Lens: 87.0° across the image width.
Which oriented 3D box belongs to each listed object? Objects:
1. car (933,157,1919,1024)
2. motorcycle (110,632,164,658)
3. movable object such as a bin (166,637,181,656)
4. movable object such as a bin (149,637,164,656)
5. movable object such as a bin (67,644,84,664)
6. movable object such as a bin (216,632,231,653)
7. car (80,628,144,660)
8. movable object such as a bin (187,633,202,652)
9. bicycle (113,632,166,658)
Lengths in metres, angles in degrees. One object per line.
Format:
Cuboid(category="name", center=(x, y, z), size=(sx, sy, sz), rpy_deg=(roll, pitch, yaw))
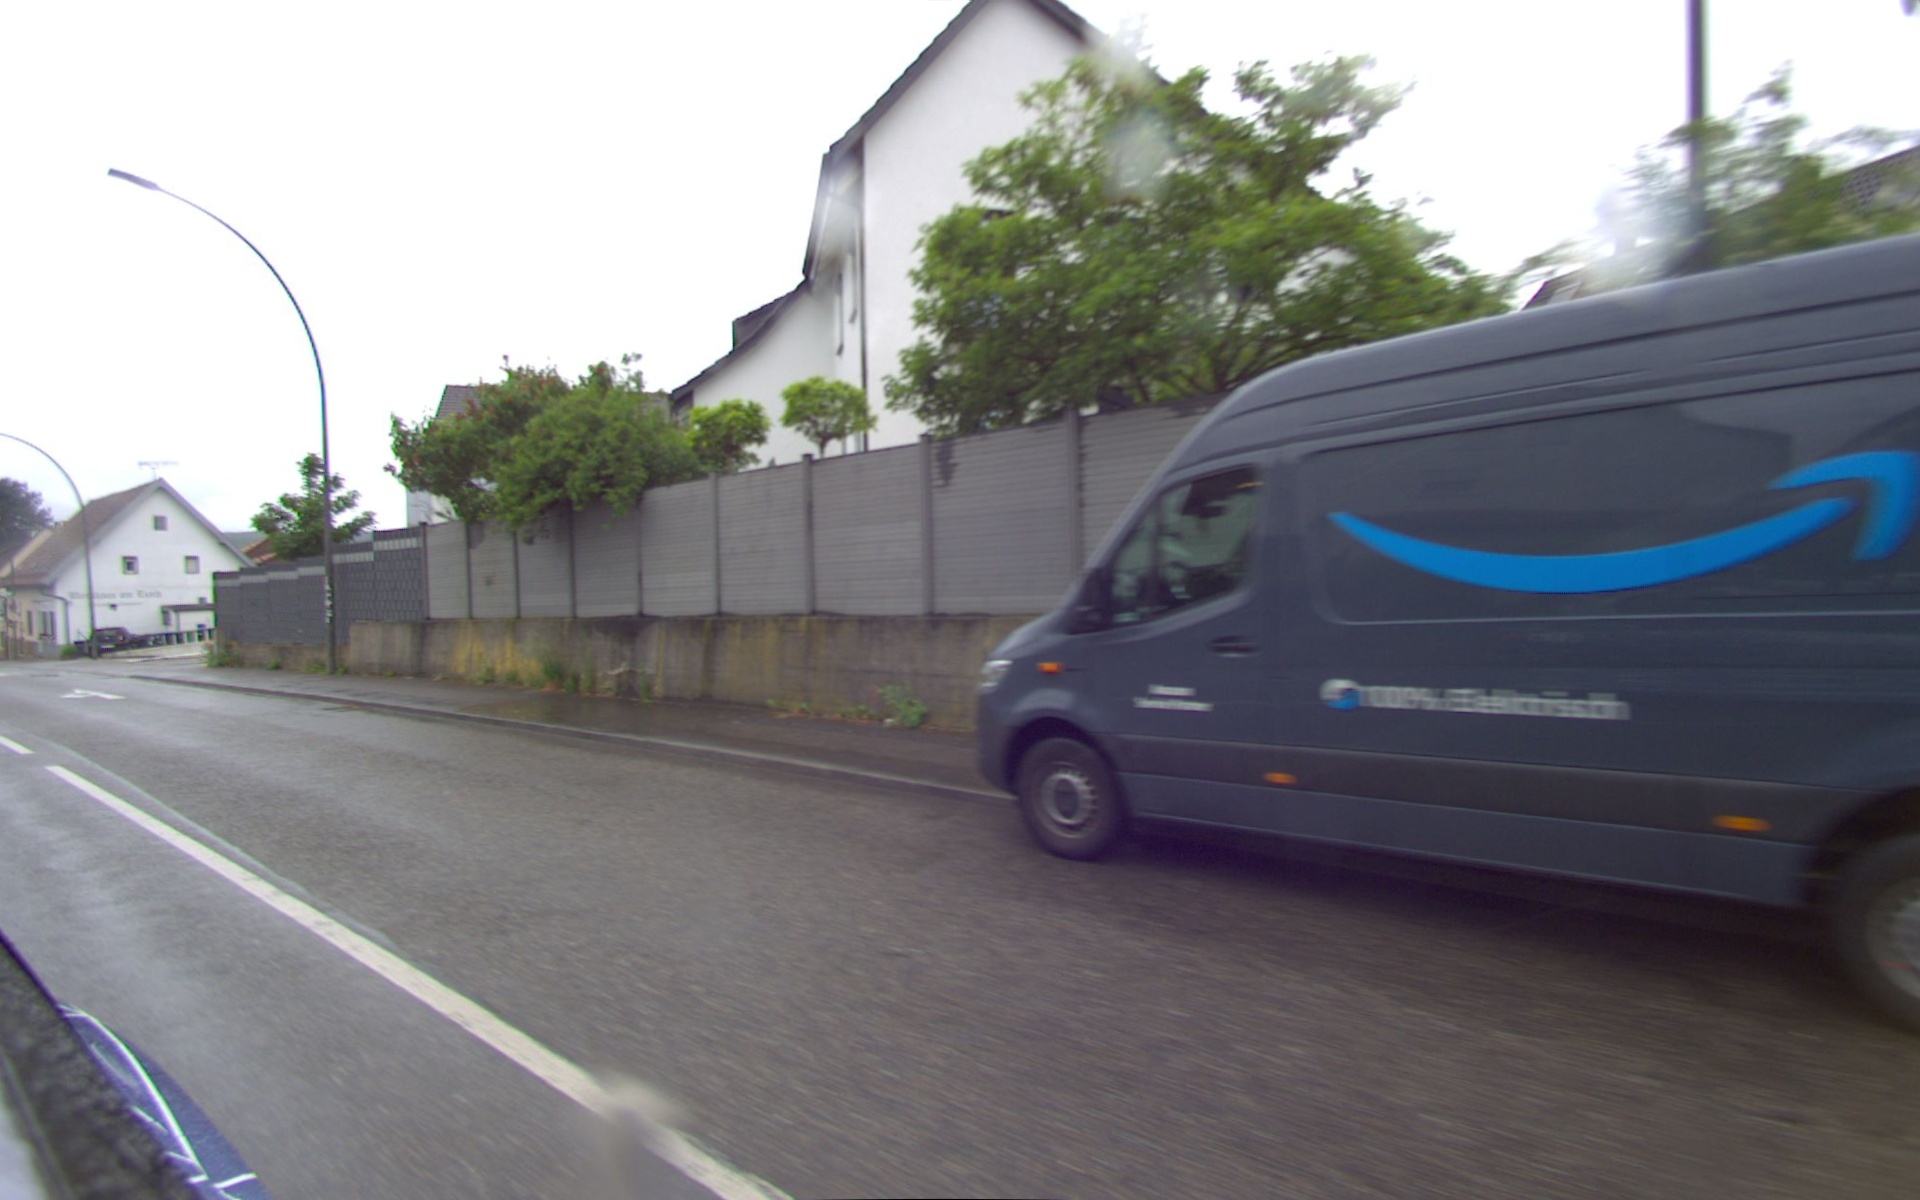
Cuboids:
Cuboid(category="car", center=(2.747, -0.040, 4.737), size=(5.919, 2.668, 2.072), rpy_deg=(-1, 2, 43))
Cuboid(category="motorcycle", center=(-43.809, 2.409, 53.923), size=(2.082, 1.122, 0.782), rpy_deg=(-6, 3, -33))
Cuboid(category="movable object such as a bin", center=(-44.207, 2.610, 56.903), size=(0.629, 1.040, 0.606), rpy_deg=(0, -2, -36))
Cuboid(category="movable object such as a bin", center=(-44.828, 2.594, 56.460), size=(0.629, 1.040, 0.606), rpy_deg=(0, -2, -36))
Cuboid(category="movable object such as a bin", center=(-47.586, 2.888, 54.440), size=(0.629, 1.040, 0.675), rpy_deg=(0, -2, -36))
Cuboid(category="movable object such as a bin", center=(-42.180, 2.428, 57.927), size=(0.629, 1.139, 0.606), rpy_deg=(-4, 0, -36))
Cuboid(category="car", center=(-42.904, 2.229, 51.277), size=(1.875, 1.453, 3.839), rpy_deg=(-4, 0, -31))
Cuboid(category="movable object such as a bin", center=(-43.306, 2.394, 57.251), size=(0.630, 1.040, 0.606), rpy_deg=(-2, -1, -37))
Cuboid(category="bicycle", center=(-44.218, 2.405, 54.553), size=(2.070, 1.122, 0.739), rpy_deg=(-6, 3, -33))
